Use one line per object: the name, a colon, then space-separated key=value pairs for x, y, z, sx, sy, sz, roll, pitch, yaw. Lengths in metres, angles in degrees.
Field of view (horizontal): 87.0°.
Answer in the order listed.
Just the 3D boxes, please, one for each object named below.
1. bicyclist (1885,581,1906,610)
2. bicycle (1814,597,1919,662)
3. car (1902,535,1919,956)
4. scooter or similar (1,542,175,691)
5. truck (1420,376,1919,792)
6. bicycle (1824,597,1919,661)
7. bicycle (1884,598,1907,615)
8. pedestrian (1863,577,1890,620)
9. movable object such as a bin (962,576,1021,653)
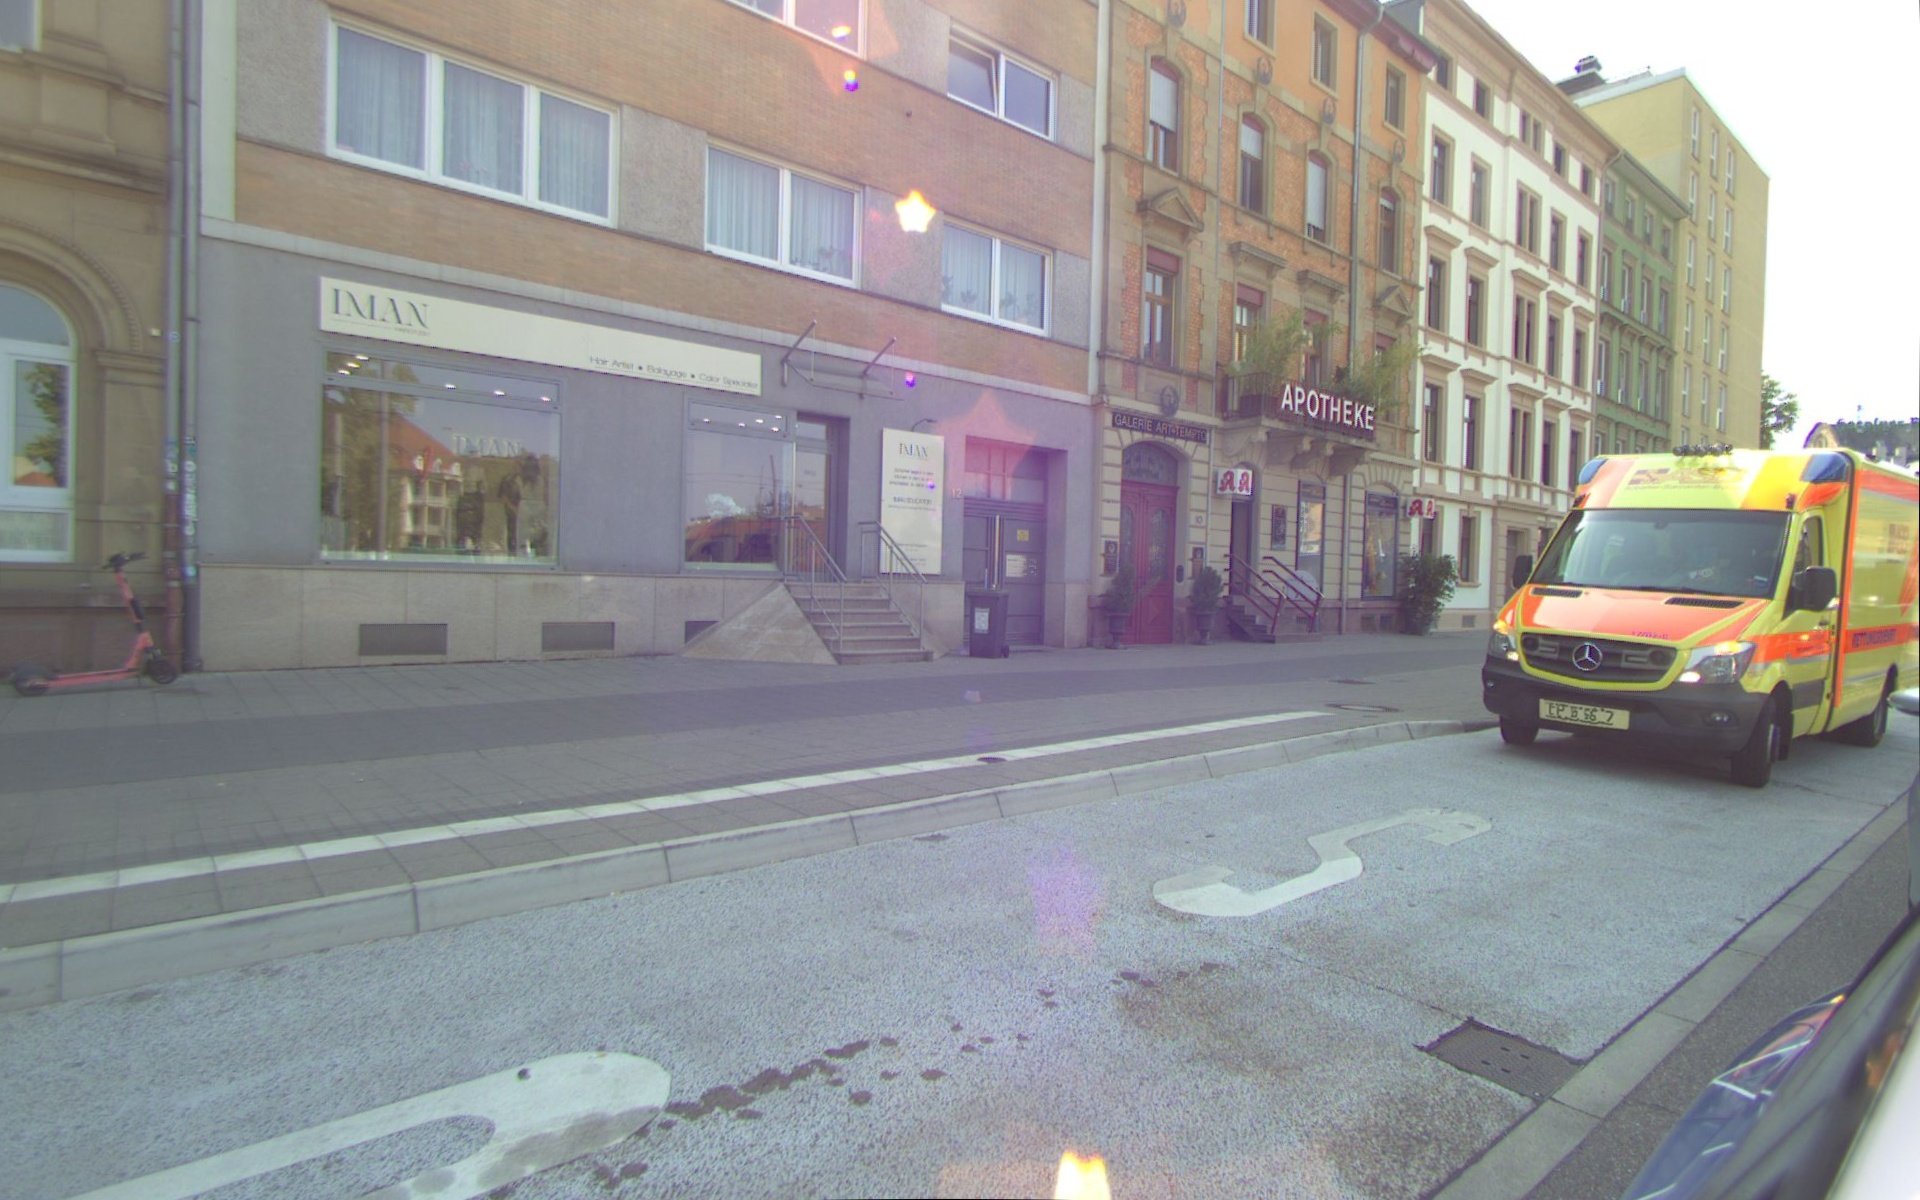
bicyclist: x=53.752 y=-0.267 z=58.125 sx=1.083 sy=1.606 sz=0.721 roll=1 pitch=1 yaw=-40
bicycle: x=17.975 y=0.560 z=19.848 sx=0.427 sy=1.219 sz=1.841 roll=1 pitch=0 yaw=-39
car: x=5.692 y=0.573 z=4.509 sx=3.929 sy=1.608 sz=1.728 roll=0 pitch=1 yaw=-40
scooter or similar: x=-7.650 y=0.127 z=8.903 sx=0.476 sy=1.227 sz=1.124 roll=3 pitch=2 yaw=45
truck: x=7.200 y=-0.182 z=9.634 sx=6.221 sy=2.803 sz=2.336 roll=0 pitch=4 yaw=-37
bicycle: x=18.658 y=0.564 z=20.405 sx=0.427 sy=1.235 sz=1.841 roll=1 pitch=0 yaw=-39
bicycle: x=53.746 y=0.367 z=58.133 sx=1.965 sy=0.965 sz=0.721 roll=1 pitch=1 yaw=-40
pedestrian: x=36.576 y=-0.071 z=40.383 sx=0.783 sy=1.648 sz=0.645 roll=0 pitch=2 yaw=-42
movable object such as a bin: x=0.492 y=0.212 z=15.651 sx=0.640 sy=1.118 sz=0.723 roll=3 pitch=2 yaw=24
